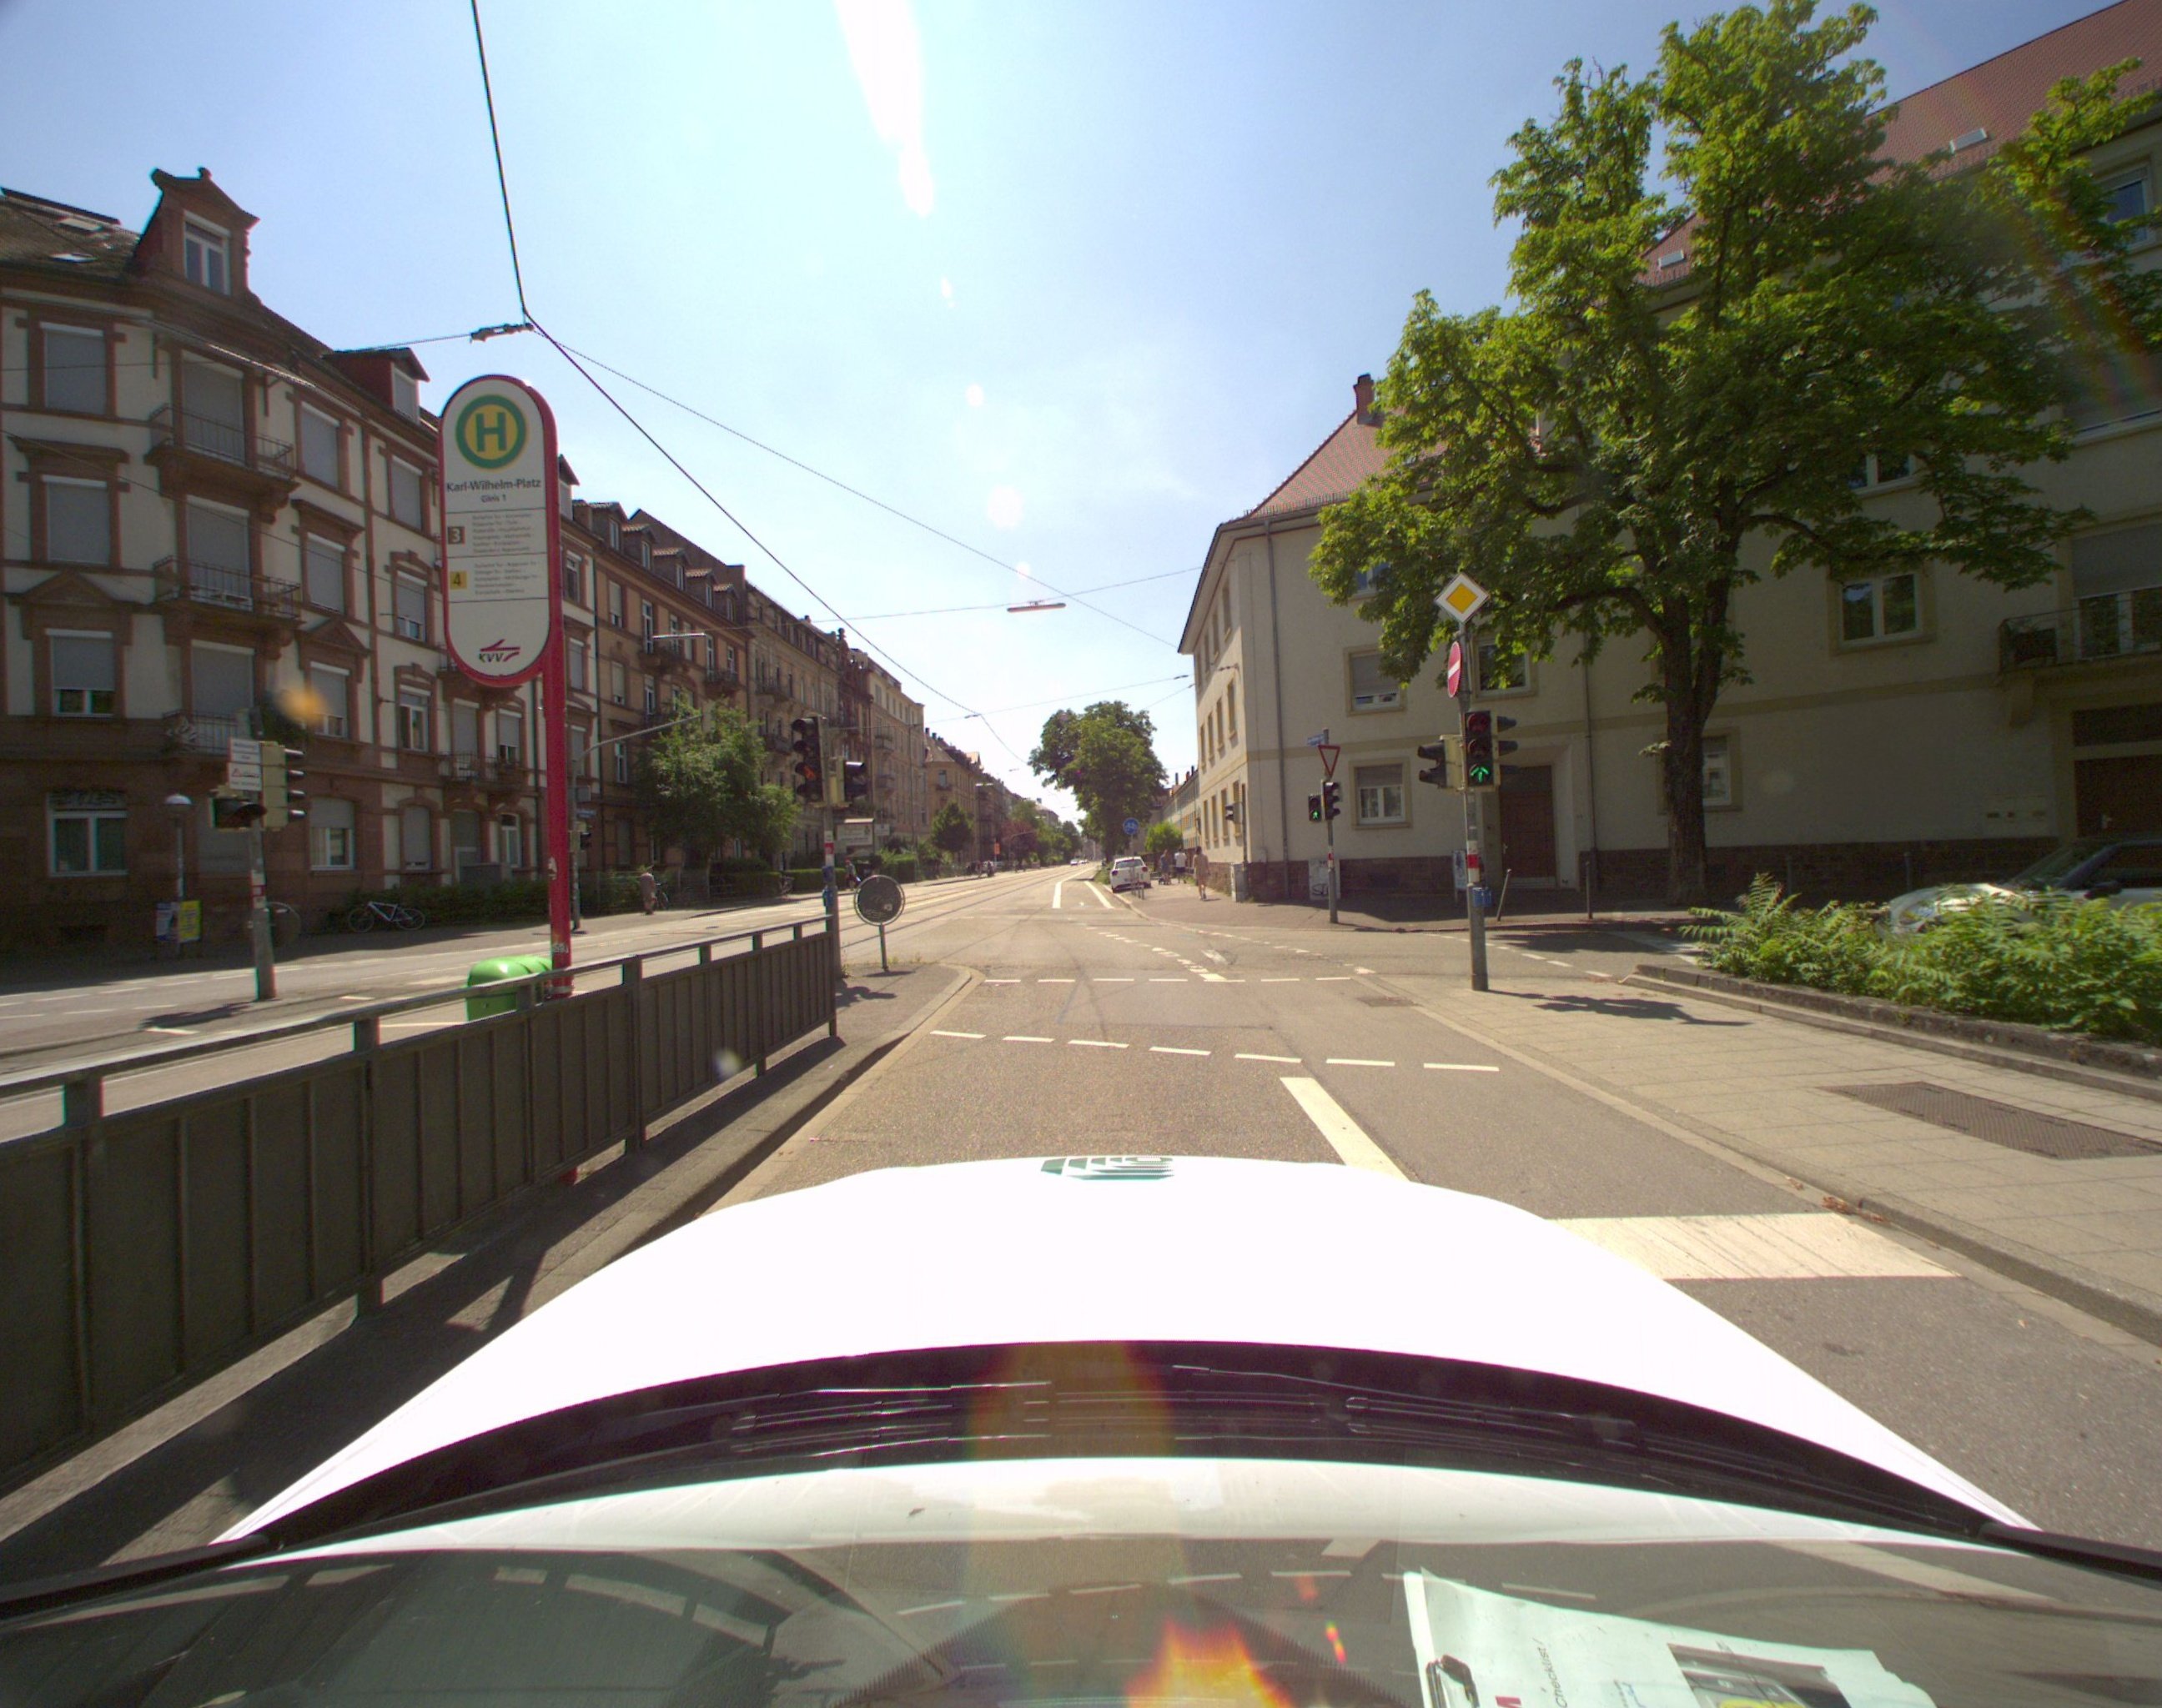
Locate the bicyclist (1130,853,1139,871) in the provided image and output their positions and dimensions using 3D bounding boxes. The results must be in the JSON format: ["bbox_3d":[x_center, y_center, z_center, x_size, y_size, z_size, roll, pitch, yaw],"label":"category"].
[{"bbox_3d":[4.234,0.632,64.392,0.708,1.452,1.011,-2,0,4],"label":"bicyclist"}]

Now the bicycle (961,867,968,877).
[{"bbox_3d":[-12.402,1.907,87.026,0.437,0.983,1.711,-2,0,0],"label":"bicycle"}]

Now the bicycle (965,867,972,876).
[{"bbox_3d":[-12.311,1.940,89.067,0.437,0.983,1.711,-2,0,0],"label":"bicycle"}]

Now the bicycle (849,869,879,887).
[{"bbox_3d":[-14.719,1.611,55.245,1.865,1.227,0.568,0,-1,-1],"label":"bicycle"}]

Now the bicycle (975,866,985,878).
[{"bbox_3d":[-9.322,1.627,75.441,0.565,1.038,1.830,-2,0,3],"label":"bicycle"}]

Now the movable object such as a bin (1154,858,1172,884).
[{"bbox_3d":[3.918,0.793,39.139,0.695,1.186,1.036,-5,-1,1],"label":"movable object such as a bin"}]

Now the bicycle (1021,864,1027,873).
[{"bbox_3d":[-7.591,1.940,109.206,0.579,1.078,1.891,-3,0,2],"label":"bicycle"}]

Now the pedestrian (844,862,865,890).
[{"bbox_3d":[-14.079,1.363,50.658,0.899,1.700,0.829,-3,-1,29],"label":"pedestrian"}]

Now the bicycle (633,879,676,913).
[{"bbox_3d":[-16.032,1.577,30.642,0.570,1.169,1.718,-2,0,5],"label":"bicycle"}]

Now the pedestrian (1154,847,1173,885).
[{"bbox_3d":[3.876,0.554,38.181,0.695,1.669,0.869,-5,-1,1],"label":"pedestrian"}]

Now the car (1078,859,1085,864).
[{"bbox_3d":[0.147,2.328,256.170,1.749,1.424,4.002,-3,-1,3],"label":"car"}]

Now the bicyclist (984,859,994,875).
[{"bbox_3d":[-9.450,1.302,83.668,0.804,1.629,0.981,-2,-1,2],"label":"bicyclist"}]

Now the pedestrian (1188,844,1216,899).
[{"bbox_3d":[3.798,0.544,25.626,0.695,1.669,0.756,-2,-1,0],"label":"pedestrian"}]

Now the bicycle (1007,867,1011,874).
[{"bbox_3d":[-10.981,2.458,124.158,0.452,1.003,1.805,-2,-1,-1],"label":"bicycle"}]

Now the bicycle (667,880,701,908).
[{"bbox_3d":[-15.968,1.607,32.797,0.457,1.056,1.567,-2,0,5],"label":"bicycle"}]

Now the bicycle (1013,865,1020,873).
[{"bbox_3d":[-8.616,1.975,109.181,0.627,1.078,1.876,-3,0,2],"label":"bicycle"}]

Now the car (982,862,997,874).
[{"bbox_3d":[-12.951,1.996,115.148,1.861,1.600,4.097,-1,-1,-3],"label":"car"}]

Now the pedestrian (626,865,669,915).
[{"bbox_3d":[-15.417,1.265,29.013,0.867,1.700,1.015,-2,-1,8],"label":"pedestrian"}]

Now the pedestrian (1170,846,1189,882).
[{"bbox_3d":[4.660,0.473,38.531,0.695,1.669,0.756,-5,-1,1],"label":"pedestrian"}]

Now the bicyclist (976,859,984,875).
[{"bbox_3d":[-9.336,1.190,75.470,0.560,1.515,0.892,-2,-1,2],"label":"bicyclist"}]

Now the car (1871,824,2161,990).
[{"bbox_3d":[10.080,0.454,7.778,3.581,1.446,1.706,-3,-1,45],"label":"car"}]

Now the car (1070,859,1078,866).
[{"bbox_3d":[-1.631,2.092,198.178,1.678,1.449,4.001,-3,0,2],"label":"car"}]

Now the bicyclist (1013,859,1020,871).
[{"bbox_3d":[-8.649,1.496,109.074,0.631,1.584,1.029,-3,0,2],"label":"bicyclist"}]

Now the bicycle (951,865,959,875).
[{"bbox_3d":[-12.685,1.637,81.888,0.495,0.987,1.711,2,0,0],"label":"bicycle"}]

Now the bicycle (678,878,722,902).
[{"bbox_3d":[-16.674,1.564,35.639,1.639,0.996,0.495,-2,-1,3],"label":"bicycle"}]

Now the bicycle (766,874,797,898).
[{"bbox_3d":[-14.829,1.582,40.376,0.635,1.093,1.934,0,0,5],"label":"bicycle"}]

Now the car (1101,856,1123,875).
[{"bbox_3d":[2.630,0.954,70.406,1.651,1.515,3.998,-2,0,-1],"label":"car"}]

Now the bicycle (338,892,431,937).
[{"bbox_3d":[-19.730,1.691,23.099,0.461,1.108,1.936,-3,0,40],"label":"bicycle"}]

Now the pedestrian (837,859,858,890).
[{"bbox_3d":[-14.236,1.266,49.684,0.867,1.857,0.821,-3,-1,41],"label":"pedestrian"}]

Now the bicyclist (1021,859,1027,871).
[{"bbox_3d":[-7.616,1.486,109.227,0.590,1.544,0.952,-3,0,2],"label":"bicyclist"}]

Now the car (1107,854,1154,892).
[{"bbox_3d":[2.152,0.814,36.461,1.771,1.410,4.157,-7,0,1],"label":"car"}]

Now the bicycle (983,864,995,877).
[{"bbox_3d":[-9.436,1.675,83.698,0.804,1.271,2.552,-2,0,3],"label":"bicycle"}]
